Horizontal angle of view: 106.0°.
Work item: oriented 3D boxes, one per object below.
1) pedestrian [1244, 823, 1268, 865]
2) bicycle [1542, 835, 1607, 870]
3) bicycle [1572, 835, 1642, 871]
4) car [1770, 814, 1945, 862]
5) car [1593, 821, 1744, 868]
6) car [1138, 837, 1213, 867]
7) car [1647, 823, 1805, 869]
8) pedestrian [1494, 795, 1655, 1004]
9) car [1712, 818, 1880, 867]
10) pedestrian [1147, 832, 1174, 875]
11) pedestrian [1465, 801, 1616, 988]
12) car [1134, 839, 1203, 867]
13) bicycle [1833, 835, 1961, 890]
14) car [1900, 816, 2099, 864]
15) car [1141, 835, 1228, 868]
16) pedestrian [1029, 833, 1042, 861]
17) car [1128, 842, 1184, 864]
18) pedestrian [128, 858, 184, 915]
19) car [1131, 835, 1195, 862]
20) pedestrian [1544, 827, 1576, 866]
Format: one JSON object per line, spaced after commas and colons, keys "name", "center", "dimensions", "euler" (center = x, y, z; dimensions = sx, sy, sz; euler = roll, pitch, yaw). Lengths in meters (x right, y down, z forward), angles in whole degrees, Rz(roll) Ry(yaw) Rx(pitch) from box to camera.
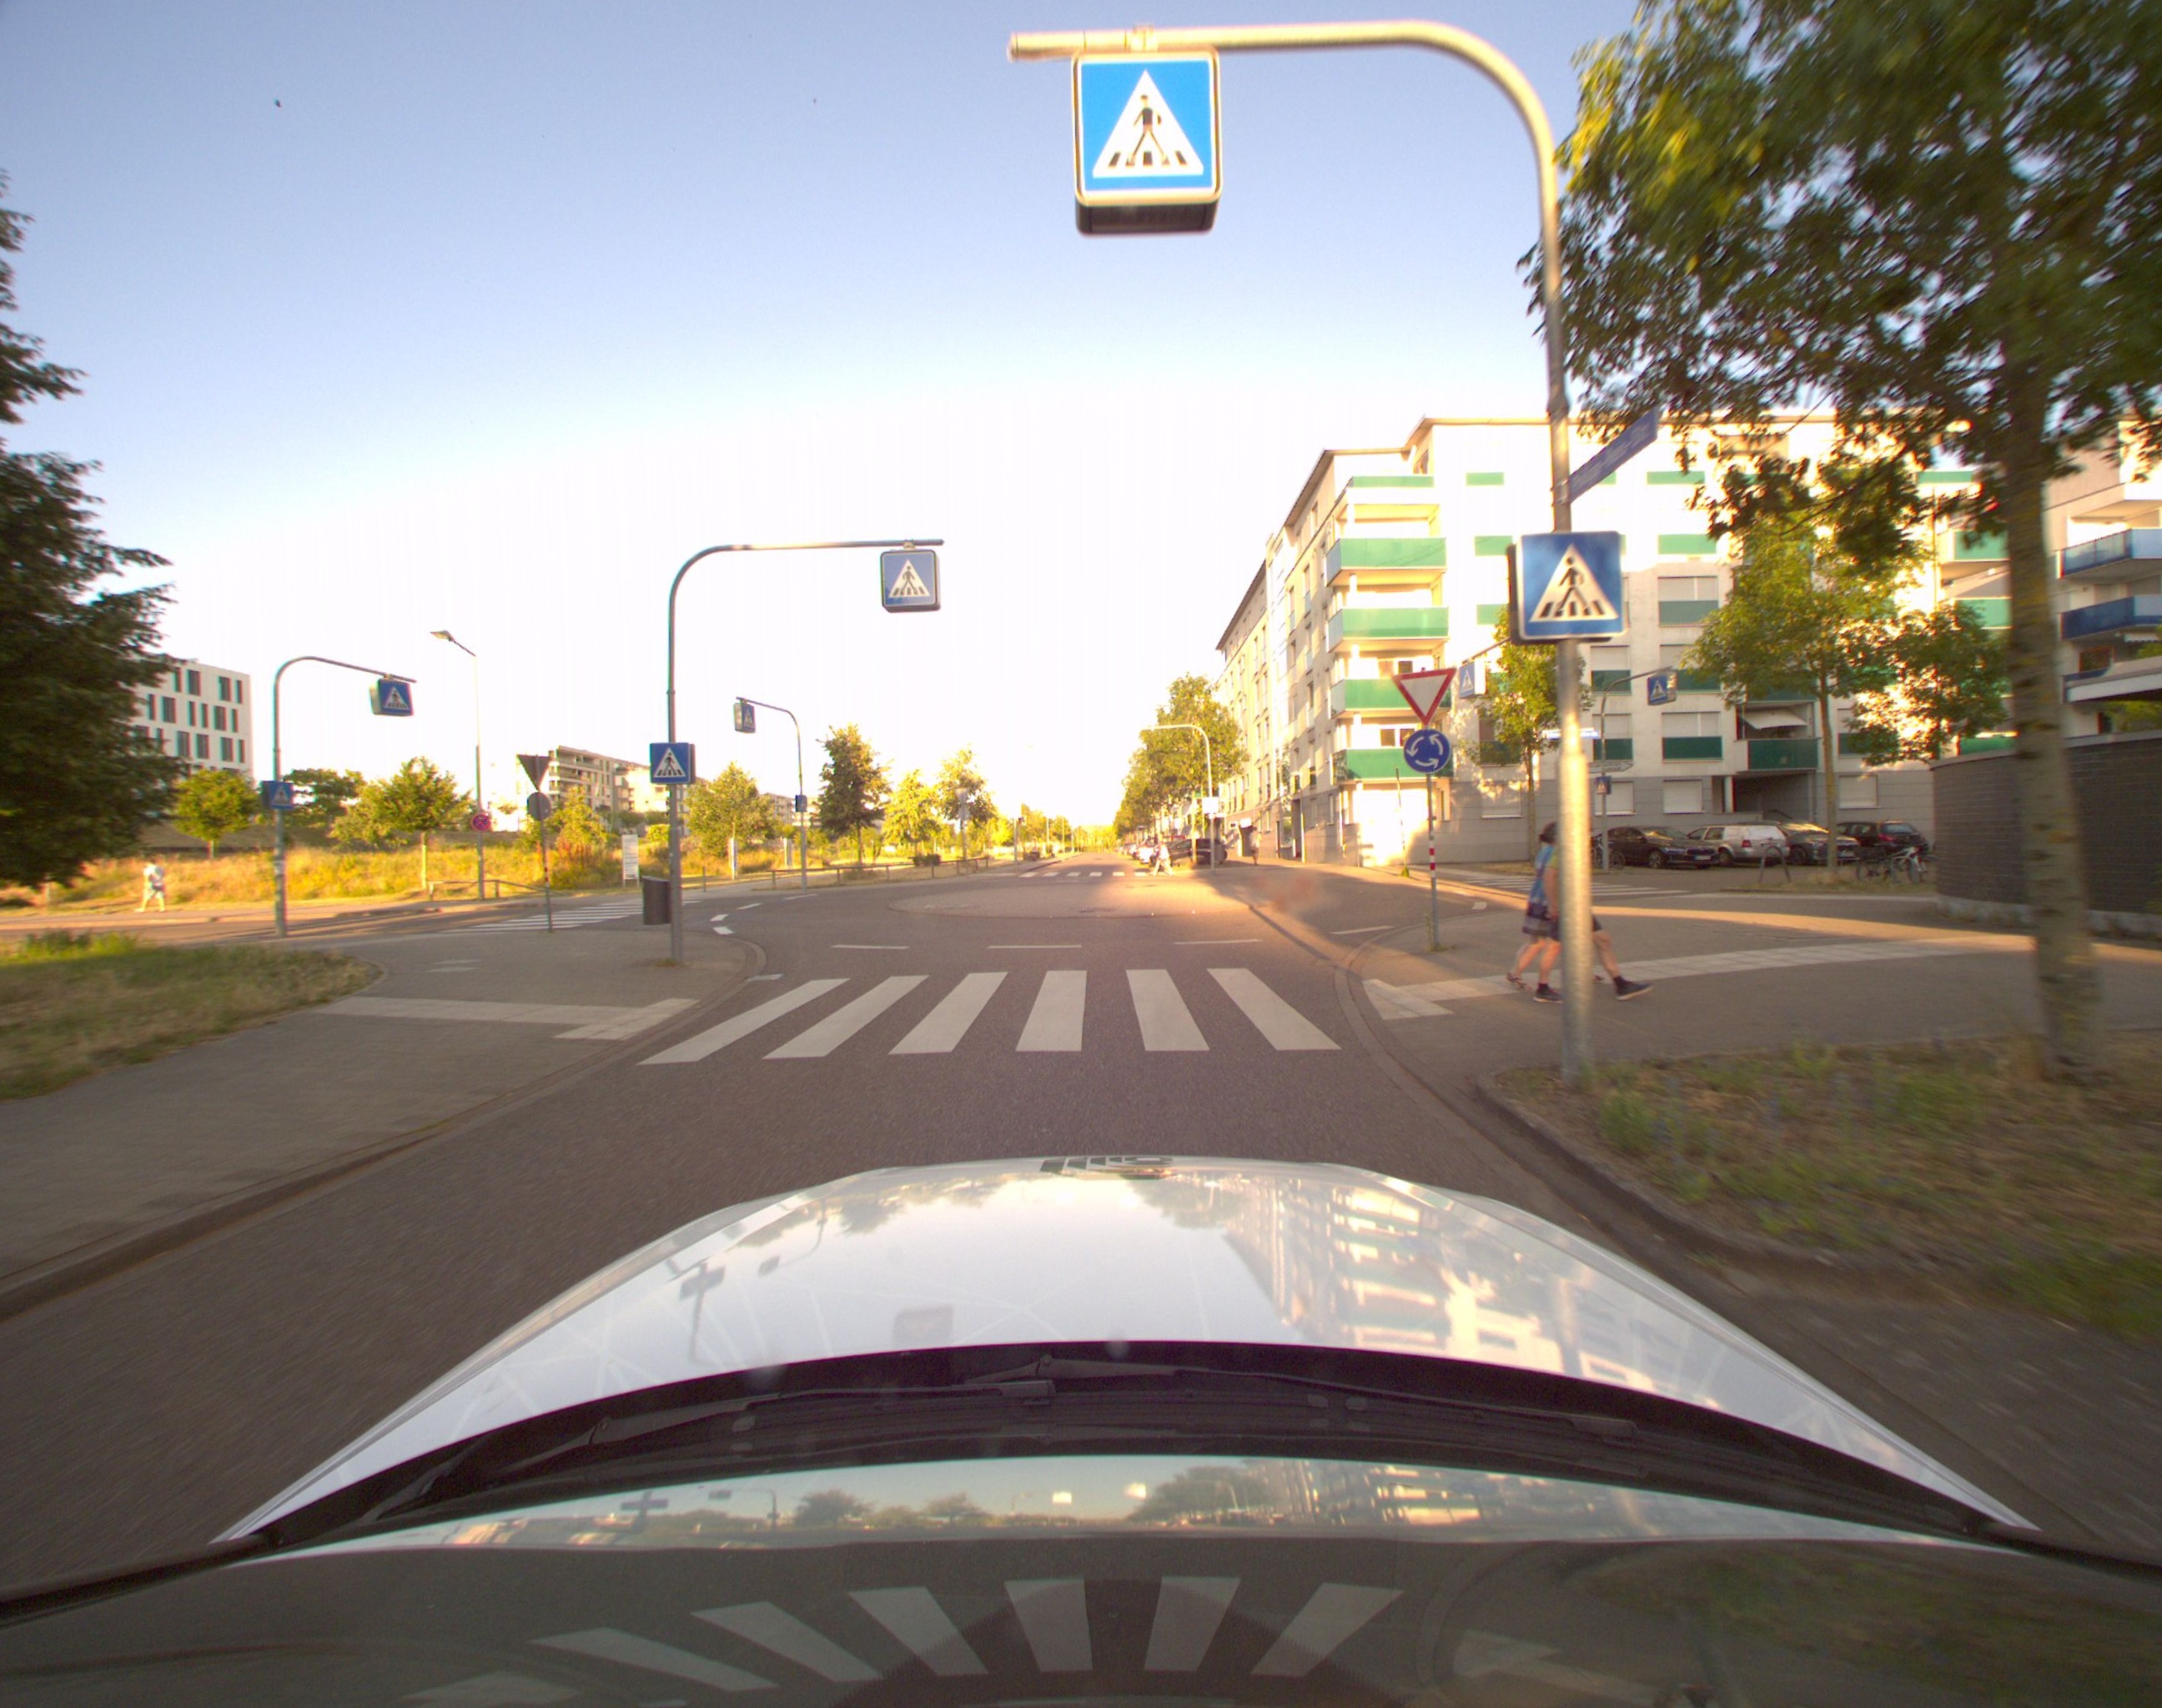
{"name": "pedestrian", "center": [8.552, -0.506, 39.802], "dimensions": [0.938, 2.013, 0.848], "euler": [-2, 0, -3]}
{"name": "bicycle", "center": [17.189, -0.051, 28.433], "dimensions": [0.694, 1.151, 2.460], "euler": [-2, 0, -1]}
{"name": "bicycle", "center": [17.997, -0.048, 27.941], "dimensions": [0.685, 1.151, 2.521], "euler": [-2, 0, -1]}
{"name": "car", "center": [28.230, -0.561, 29.861], "dimensions": [1.987, 1.553, 4.593], "euler": [-2, 0, 0]}
{"name": "car", "center": [20.428, -0.342, 28.622], "dimensions": [1.987, 1.453, 4.593], "euler": [-2, 0, 0]}
{"name": "car", "center": [5.698, -0.123, 49.397], "dimensions": [4.338, 1.596, 2.001], "euler": [-2, 0, 2]}
{"name": "car", "center": [22.787, -0.295, 29.043], "dimensions": [1.987, 1.453, 4.593], "euler": [-2, 0, 0]}
{"name": "pedestrian", "center": [4.311, 0.403, 7.160], "dimensions": [1.009, 1.693, 0.764], "euler": [-6, -2, 31]}
{"name": "car", "center": [25.392, -0.393, 29.197], "dimensions": [1.987, 1.553, 4.593], "euler": [-2, 0, 0]}
{"name": "pedestrian", "center": [3.343, -0.012, 34.136], "dimensions": [1.002, 1.788, 0.761], "euler": [-1, 0, -5]}
{"name": "pedestrian", "center": [4.530, 0.377, 8.073], "dimensions": [0.983, 1.693, 0.698], "euler": [-5, 1, -9]}
{"name": "car", "center": [5.532, -0.069, 52.135], "dimensions": [4.246, 1.596, 2.001], "euler": [-2, 0, 2]}
{"name": "bicycle", "center": [17.733, 0.215, 17.774], "dimensions": [0.720, 1.114, 1.940], "euler": [-2, -2, -3]}
{"name": "car", "center": [32.945, -0.495, 29.453], "dimensions": [1.987, 1.553, 4.593], "euler": [-2, 0, 0]}
{"name": "car", "center": [5.567, -0.137, 44.245], "dimensions": [4.466, 1.596, 2.001], "euler": [-2, 0, 2]}
{"name": "pedestrian", "center": [-3.365, -0.495, 60.006], "dimensions": [0.866, 2.013, 0.787], "euler": [-2, 0, -9]}
{"name": "car", "center": [5.883, -0.108, 64.350], "dimensions": [4.249, 1.596, 2.000], "euler": [-2, 0, 0]}
{"name": "pedestrian", "center": [-30.305, 1.047, 26.682], "dimensions": [0.864, 1.786, 0.789], "euler": [-2, 0, -1]}
{"name": "car", "center": [6.761, -0.462, 67.415], "dimensions": [4.992, 2.045, 2.248], "euler": [-2, 0, -3]}
{"name": "pedestrian", "center": [17.167, -0.275, 29.192], "dimensions": [0.655, 1.355, 0.802], "euler": [-2, 0, -1]}
